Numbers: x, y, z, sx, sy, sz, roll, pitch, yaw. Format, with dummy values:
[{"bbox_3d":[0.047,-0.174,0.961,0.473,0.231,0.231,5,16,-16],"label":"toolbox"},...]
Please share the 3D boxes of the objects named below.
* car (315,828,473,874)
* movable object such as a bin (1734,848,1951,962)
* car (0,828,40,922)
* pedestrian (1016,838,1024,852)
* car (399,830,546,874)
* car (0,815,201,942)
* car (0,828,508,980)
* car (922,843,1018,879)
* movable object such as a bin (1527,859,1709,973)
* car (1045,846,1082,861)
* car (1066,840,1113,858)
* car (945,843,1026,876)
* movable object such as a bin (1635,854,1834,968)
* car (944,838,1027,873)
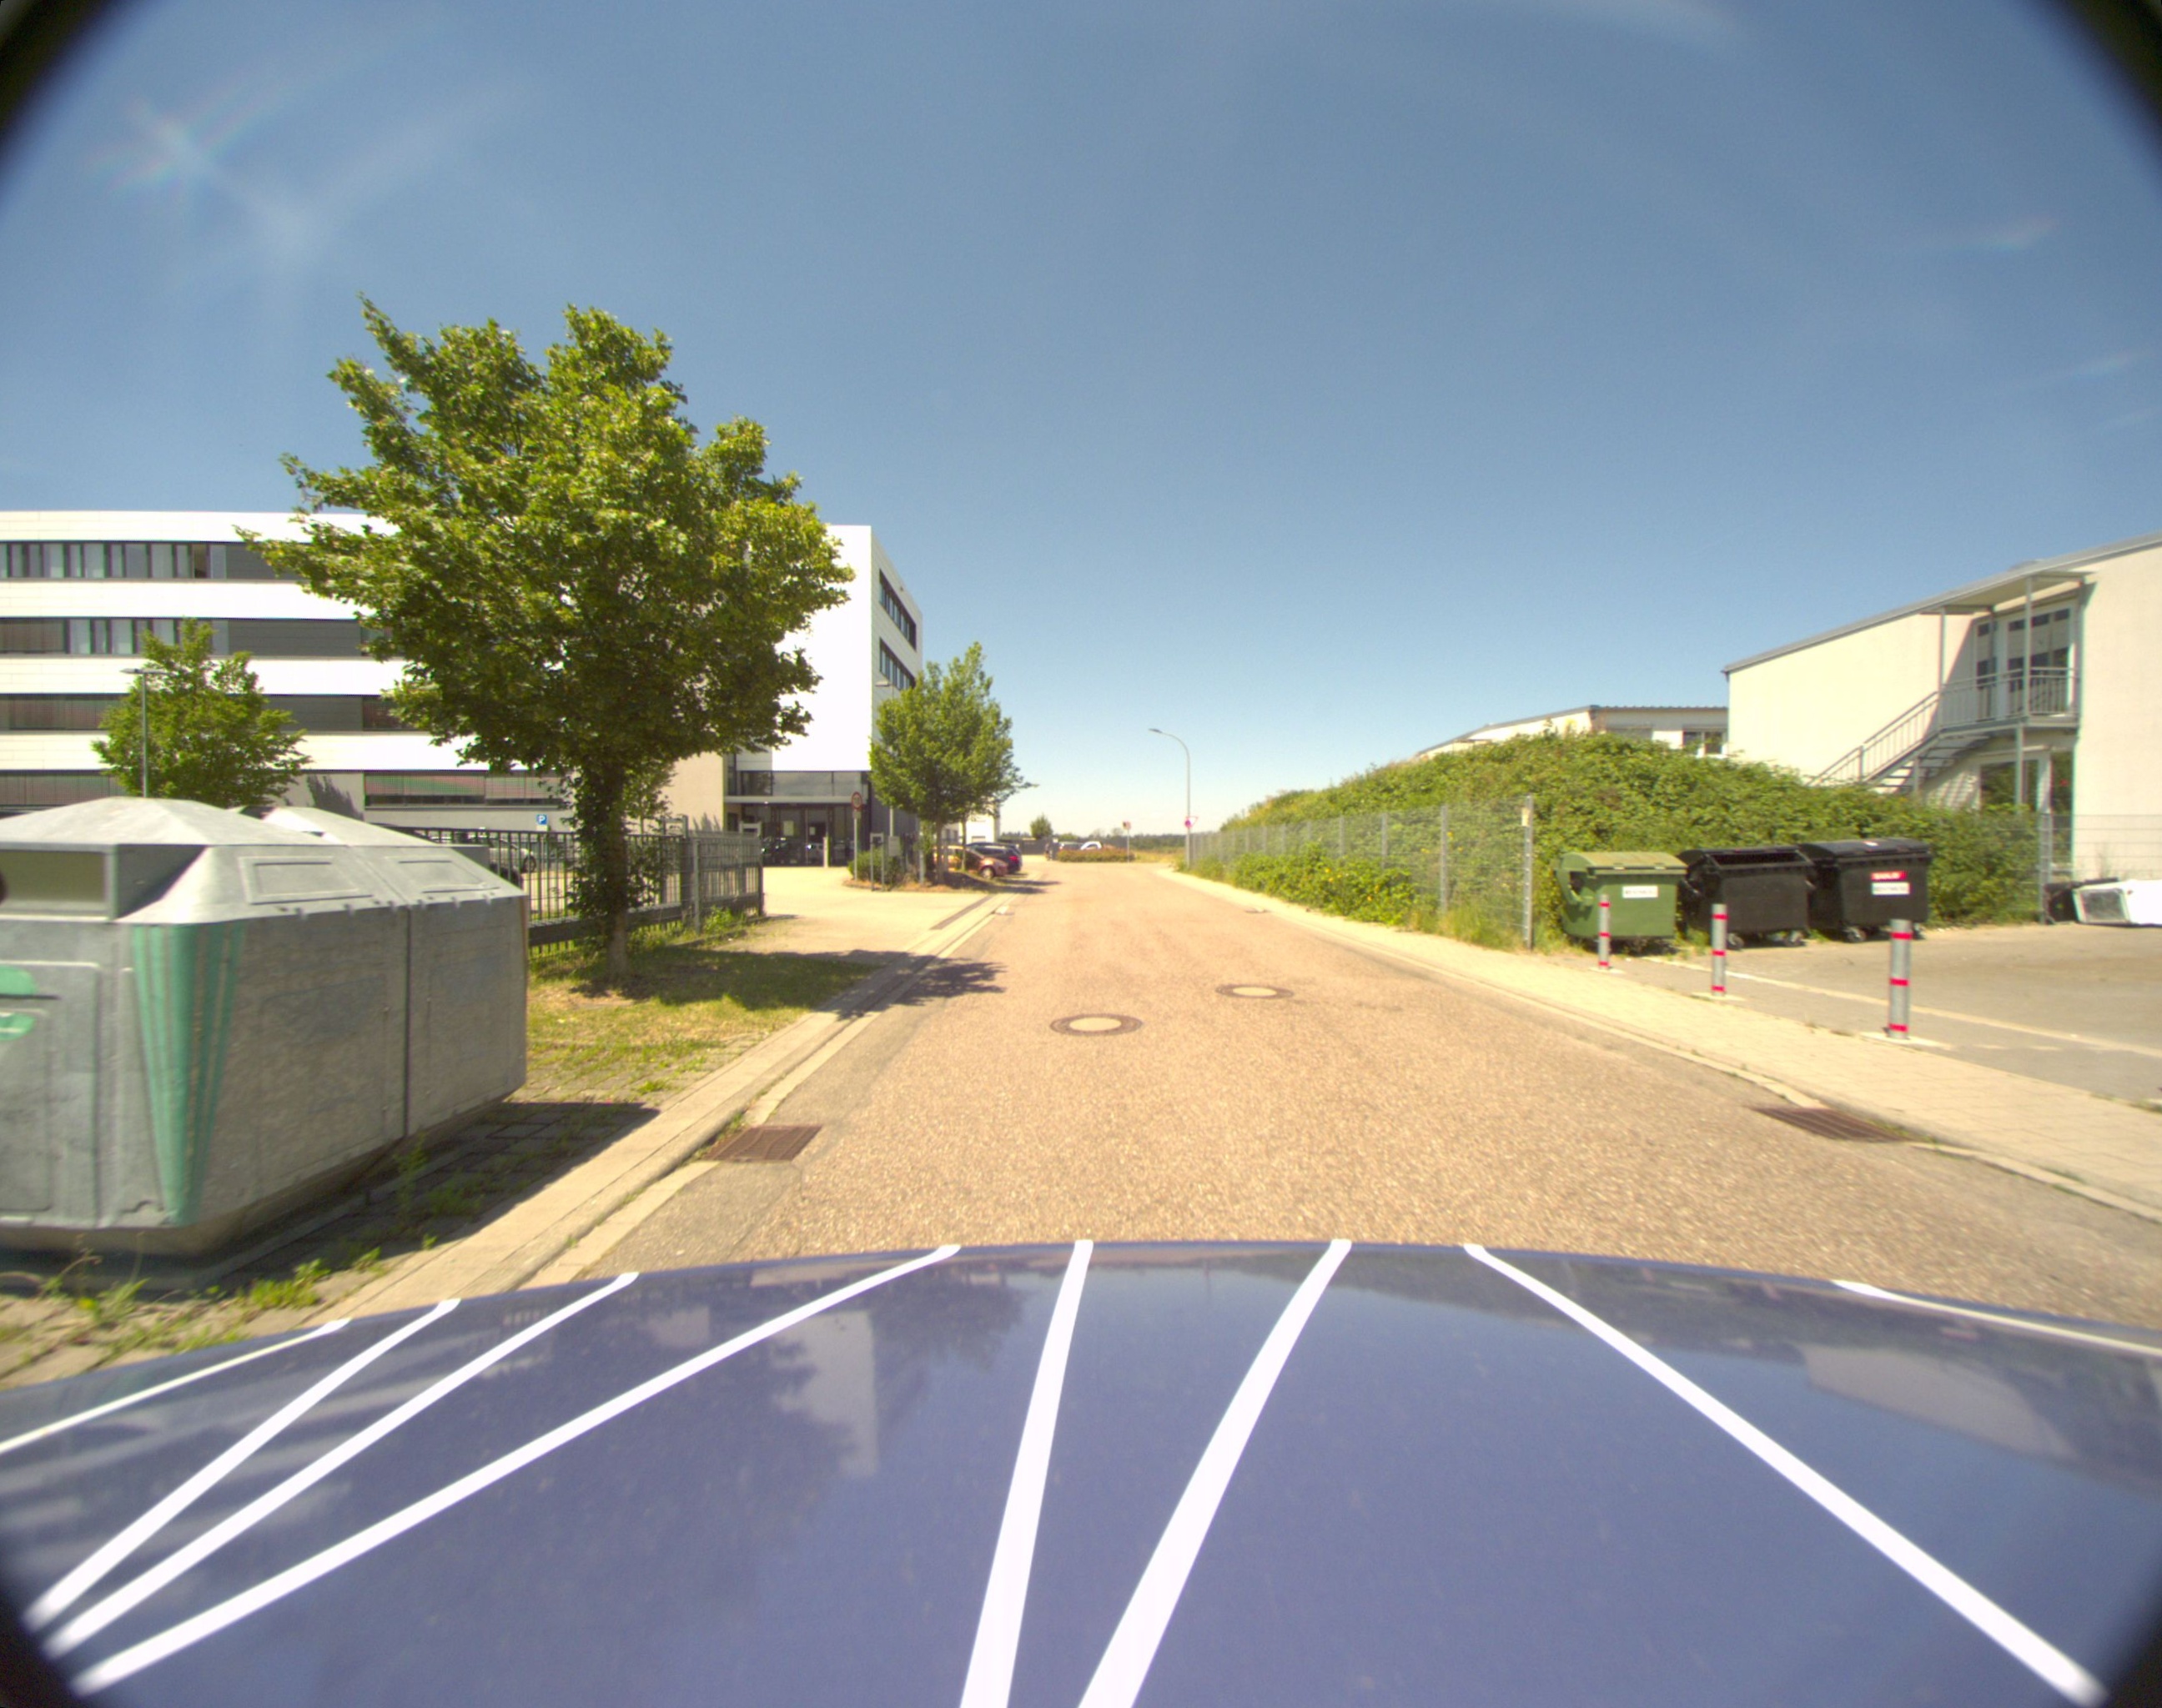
[{"bbox_3d":[-24.824,-0.169,27.686,1.809,1.521,4.223,1,2,2],"label":"car"},{"bbox_3d":[11.037,0.687,11.136,1.352,1.456,1.766,-4,1,1],"label":"movable object such as a bin"},{"bbox_3d":[-17.167,0.392,9.527,1.844,1.425,4.647,0,2,-2],"label":"car"},{"bbox_3d":[-6.790,-0.989,84.647,0.775,1.620,0.620,0,2,-15],"label":"pedestrian"},{"bbox_3d":[-21.925,-0.130,27.629,1.809,1.452,4.223,1,2,2],"label":"car"},{"bbox_3d":[-14.901,0.319,9.753,1.844,1.644,4.647,0,2,-2],"label":"car"},{"bbox_3d":[-9.697,0.402,9.513,1.794,1.447,4.407,0,2,-2],"label":"car"},{"bbox_3d":[-4.878,0.307,33.791,3.998,1.486,1.724,1,1,-2],"label":"car"},{"bbox_3d":[7.622,0.819,10.940,1.306,1.468,1.838,0,1,0],"label":"movable object such as a bin"},{"bbox_3d":[-1.947,-0.025,83.529,3.998,1.596,1.676,0,1,-4],"label":"car"},{"bbox_3d":[0.747,-0.441,66.801,3.998,1.532,1.830,0,1,-4],"label":"car"},{"bbox_3d":[-4.587,0.258,36.856,3.722,1.486,1.781,1,1,-2],"label":"car"},{"bbox_3d":[9.529,0.779,11.215,1.352,1.456,1.766,-4,1,1],"label":"movable object such as a bin"},{"bbox_3d":[-4.939,0.069,39.644,3.996,1.755,1.725,1,1,2],"label":"car"}]
